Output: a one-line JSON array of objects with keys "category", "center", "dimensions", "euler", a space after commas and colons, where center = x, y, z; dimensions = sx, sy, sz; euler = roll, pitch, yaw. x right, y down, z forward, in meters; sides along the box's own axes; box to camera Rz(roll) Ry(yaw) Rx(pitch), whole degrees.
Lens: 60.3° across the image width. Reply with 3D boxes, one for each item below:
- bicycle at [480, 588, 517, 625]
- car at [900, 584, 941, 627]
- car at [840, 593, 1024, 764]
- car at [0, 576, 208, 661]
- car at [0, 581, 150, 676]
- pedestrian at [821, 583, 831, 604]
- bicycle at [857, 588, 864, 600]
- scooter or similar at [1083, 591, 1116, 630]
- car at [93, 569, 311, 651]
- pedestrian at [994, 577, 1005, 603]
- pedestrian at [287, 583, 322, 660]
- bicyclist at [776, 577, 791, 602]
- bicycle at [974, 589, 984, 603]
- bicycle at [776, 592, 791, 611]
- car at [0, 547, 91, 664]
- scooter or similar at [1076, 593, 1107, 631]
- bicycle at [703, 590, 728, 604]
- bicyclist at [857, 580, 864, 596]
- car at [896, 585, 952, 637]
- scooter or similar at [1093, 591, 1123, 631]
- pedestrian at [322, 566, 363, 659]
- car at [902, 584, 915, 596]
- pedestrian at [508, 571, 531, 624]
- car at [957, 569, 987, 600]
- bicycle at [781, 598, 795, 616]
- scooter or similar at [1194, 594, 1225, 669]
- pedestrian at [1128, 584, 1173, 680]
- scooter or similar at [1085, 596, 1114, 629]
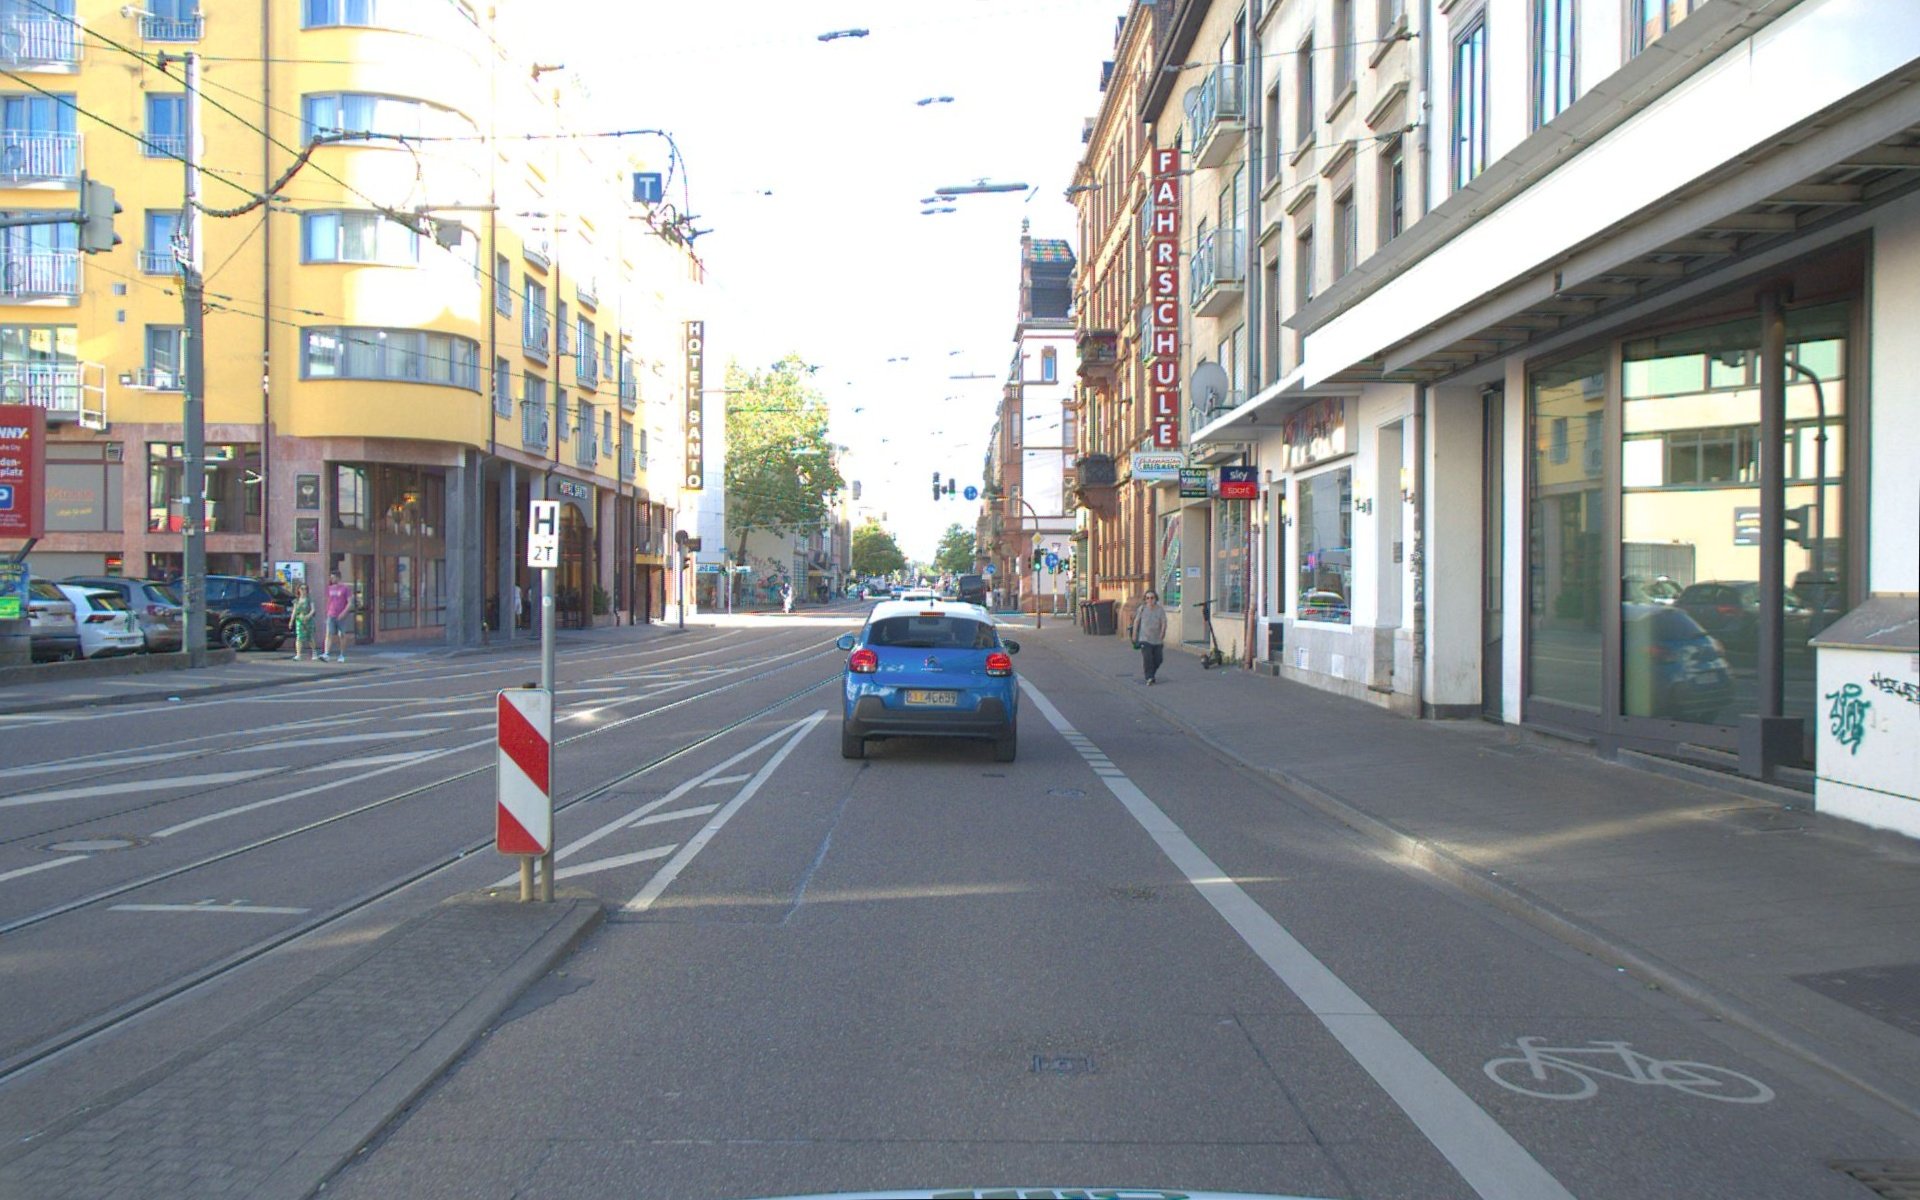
[{"category": "bicycle", "center": [-15.870, 0.210, 56.941], "dimensions": [0.569, 1.224, 2.082], "euler": [0, 0, 3]}, {"category": "car", "center": [-1.946, 0.221, 81.426], "dimensions": [1.953, 2.049, 3.999], "euler": [0, 1, -2]}, {"category": "car", "center": [-0.261, 0.710, 17.046], "dimensions": [1.639, 1.503, 4.000], "euler": [1, 1, 0]}, {"category": "car", "center": [-17.137, 0.379, 32.232], "dimensions": [4.147, 1.575, 1.785], "euler": [-1, -2, -1]}, {"category": "car", "center": [-16.923, 0.479, 29.422], "dimensions": [4.147, 1.637, 1.785], "euler": [0, 0, -1]}, {"category": "pedestrian", "center": [-11.661, -0.578, 143.741], "dimensions": [0.668, 1.796, 1.026], "euler": [0, 0, 10]}, {"category": "bicycle", "center": [-10.020, -0.635, 166.278], "dimensions": [0.679, 1.140, 2.083], "euler": [0, 1, -2]}, {"category": "scooter or similar", "center": [4.486, 0.333, 53.206], "dimensions": [0.915, 1.168, 0.650], "euler": [-4, 1, -3]}, {"category": "car", "center": [-17.319, 0.211, 37.931], "dimensions": [4.147, 1.843, 1.785], "euler": [0, 0, -1]}, {"category": "pedestrian", "center": [2.753, -0.709, 114.984], "dimensions": [0.691, 1.813, 0.672], "euler": [1, 0, -3]}, {"category": "pedestrian", "center": [-14.141, 0.461, 35.669], "dimensions": [0.560, 1.645, 0.499], "euler": [0, 0, -2]}, {"category": "bicyclist", "center": [-10.217, -0.607, 95.784], "dimensions": [0.709, 1.405, 1.227], "euler": [1, 1, -2]}, {"category": "bicycle", "center": [1.306, -0.295, 113.992], "dimensions": [0.423, 0.964, 1.760], "euler": [0, 0, -8]}, {"category": "bicycle", "center": [-10.213, 0.085, 95.943], "dimensions": [0.716, 1.107, 2.061], "euler": [0, 0, -2]}, {"category": "car", "center": [-16.806, 0.142, 27.122], "dimensions": [4.147, 1.844, 1.785], "euler": [-1, -2, -1]}, {"category": "scooter or similar", "center": [4.297, 0.384, 54.266], "dimensions": [0.879, 1.168, 0.547], "euler": [-4, 1, -3]}, {"category": "bicycle", "center": [-18.626, -0.198, 126.015], "dimensions": [1.878, 1.052, 0.665], "euler": [0, 0, 25]}, {"category": "bicyclist", "center": [-10.035, -1.205, 166.216], "dimensions": [0.668, 1.509, 0.778], "euler": [0, 0, -2]}, {"category": "car", "center": [-1.114, 0.293, 50.471], "dimensions": [1.633, 1.504, 3.999], "euler": [0, 1, -2]}, {"category": "scooter or similar", "center": [4.607, 0.335, 51.595], "dimensions": [0.774, 1.168, 0.789], "euler": [-4, 1, -3]}, {"category": "pedestrian", "center": [-13.308, 0.268, 35.657], "dimensions": [0.624, 1.980, 0.709], "euler": [0, 0, -2]}, {"category": "car", "center": [-7.640, -1.446, 245.174], "dimensions": [1.953, 1.774, 4.561], "euler": [0, 0, -2]}, {"category": "pedestrian", "center": [-15.068, -0.098, 56.610], "dimensions": [0.549, 1.801, 0.723], "euler": [0, 0, 3]}, {"category": "car", "center": [0.945, -1.252, 134.124], "dimensions": [2.225, 2.479, 5.719], "euler": [0, 0, -1]}, {"category": "bicycle", "center": [-10.731, 0.432, 103.007], "dimensions": [0.716, 1.084, 2.061], "euler": [0, 0, -2]}, {"category": "scooter or similar", "center": [4.507, 0.552, 29.854], "dimensions": [0.401, 1.304, 1.285], "euler": [0, 0, 15]}, {"category": "pedestrian", "center": [3.197, 0.530, 27.838], "dimensions": [0.635, 1.587, 0.781], "euler": [0, 0, -2]}, {"category": "scooter or similar", "center": [4.426, 0.399, 52.511], "dimensions": [0.774, 0.974, 0.680], "euler": [-4, 1, -3]}]
